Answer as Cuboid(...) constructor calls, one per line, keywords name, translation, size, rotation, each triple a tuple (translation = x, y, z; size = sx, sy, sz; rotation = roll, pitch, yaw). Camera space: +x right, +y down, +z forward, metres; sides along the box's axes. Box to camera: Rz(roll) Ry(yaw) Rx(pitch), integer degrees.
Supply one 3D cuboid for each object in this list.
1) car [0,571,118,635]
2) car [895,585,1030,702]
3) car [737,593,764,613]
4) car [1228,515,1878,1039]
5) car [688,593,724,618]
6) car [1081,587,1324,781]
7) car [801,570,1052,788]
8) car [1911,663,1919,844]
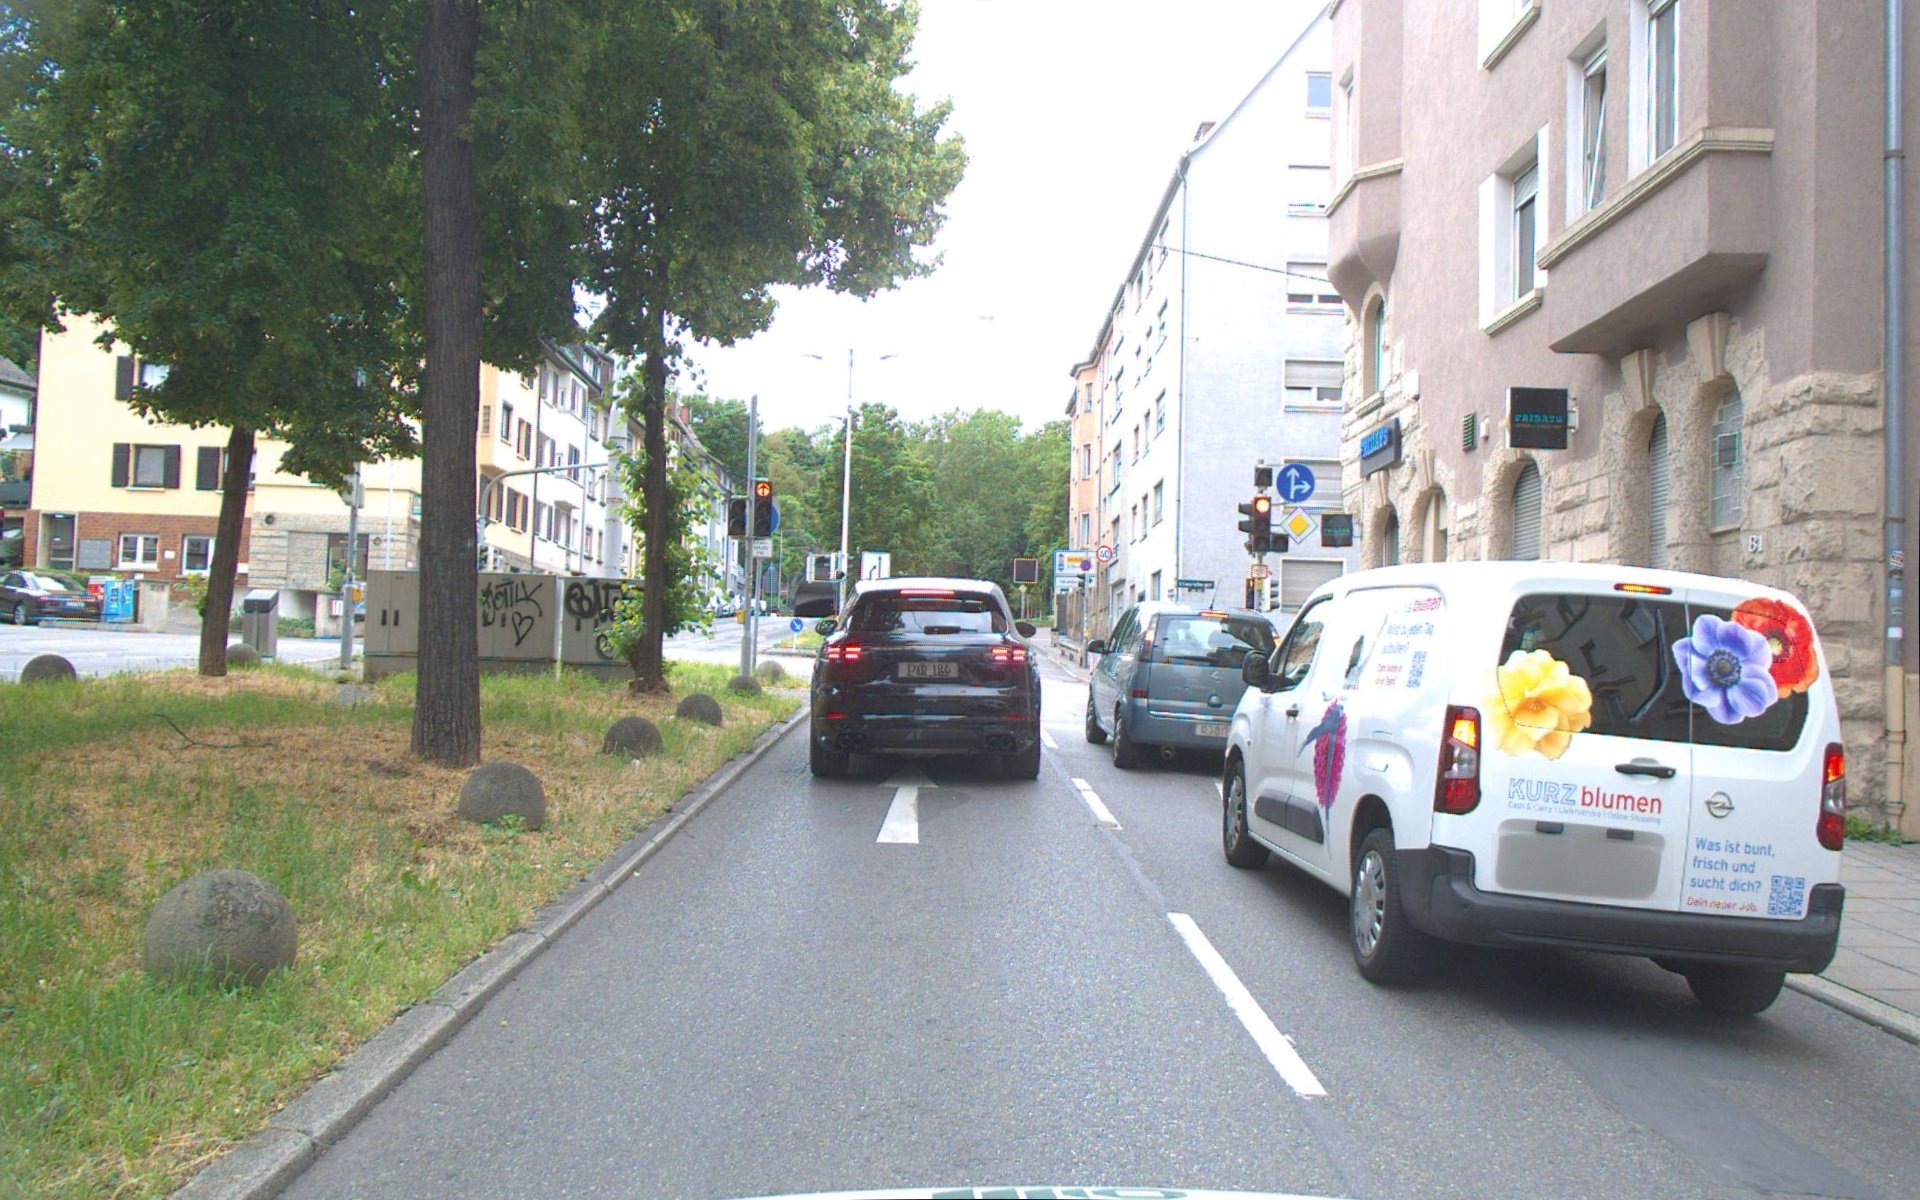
Cuboid(name="car", translation=(-25.682, 0.095, 46.456), size=(3.916, 1.694, 1.877), rotation=(0, -2, 33))
Cuboid(name="car", translation=(0.048, 0.659, 26.186), size=(1.953, 1.682, 4.000), rotation=(1, -1, 0))
Cuboid(name="car", translation=(-16.918, 0.238, 133.928), size=(1.758, 1.536, 3.998), rotation=(2, 0, -2))
Cuboid(name="car", translation=(2.616, 0.719, 8.680), size=(1.811, 1.857, 5.022), rotation=(3, -2, 3))
Cuboid(name="car", translation=(-16.435, 0.319, 107.150), size=(1.758, 1.536, 3.998), rotation=(2, 0, -2))
Cuboid(name="car", translation=(2.356, 0.759, 16.931), size=(1.717, 1.620, 3.629), rotation=(4, 1, -3))
Cuboid(name="car", translation=(-0.256, 0.606, 15.007), size=(1.953, 1.681, 4.000), rotation=(1, 0, 0))
Cuboid(name="car", translation=(8.829, 1.125, 11.018), size=(3.906, 1.427, 1.800), rotation=(2, 2, -1))
